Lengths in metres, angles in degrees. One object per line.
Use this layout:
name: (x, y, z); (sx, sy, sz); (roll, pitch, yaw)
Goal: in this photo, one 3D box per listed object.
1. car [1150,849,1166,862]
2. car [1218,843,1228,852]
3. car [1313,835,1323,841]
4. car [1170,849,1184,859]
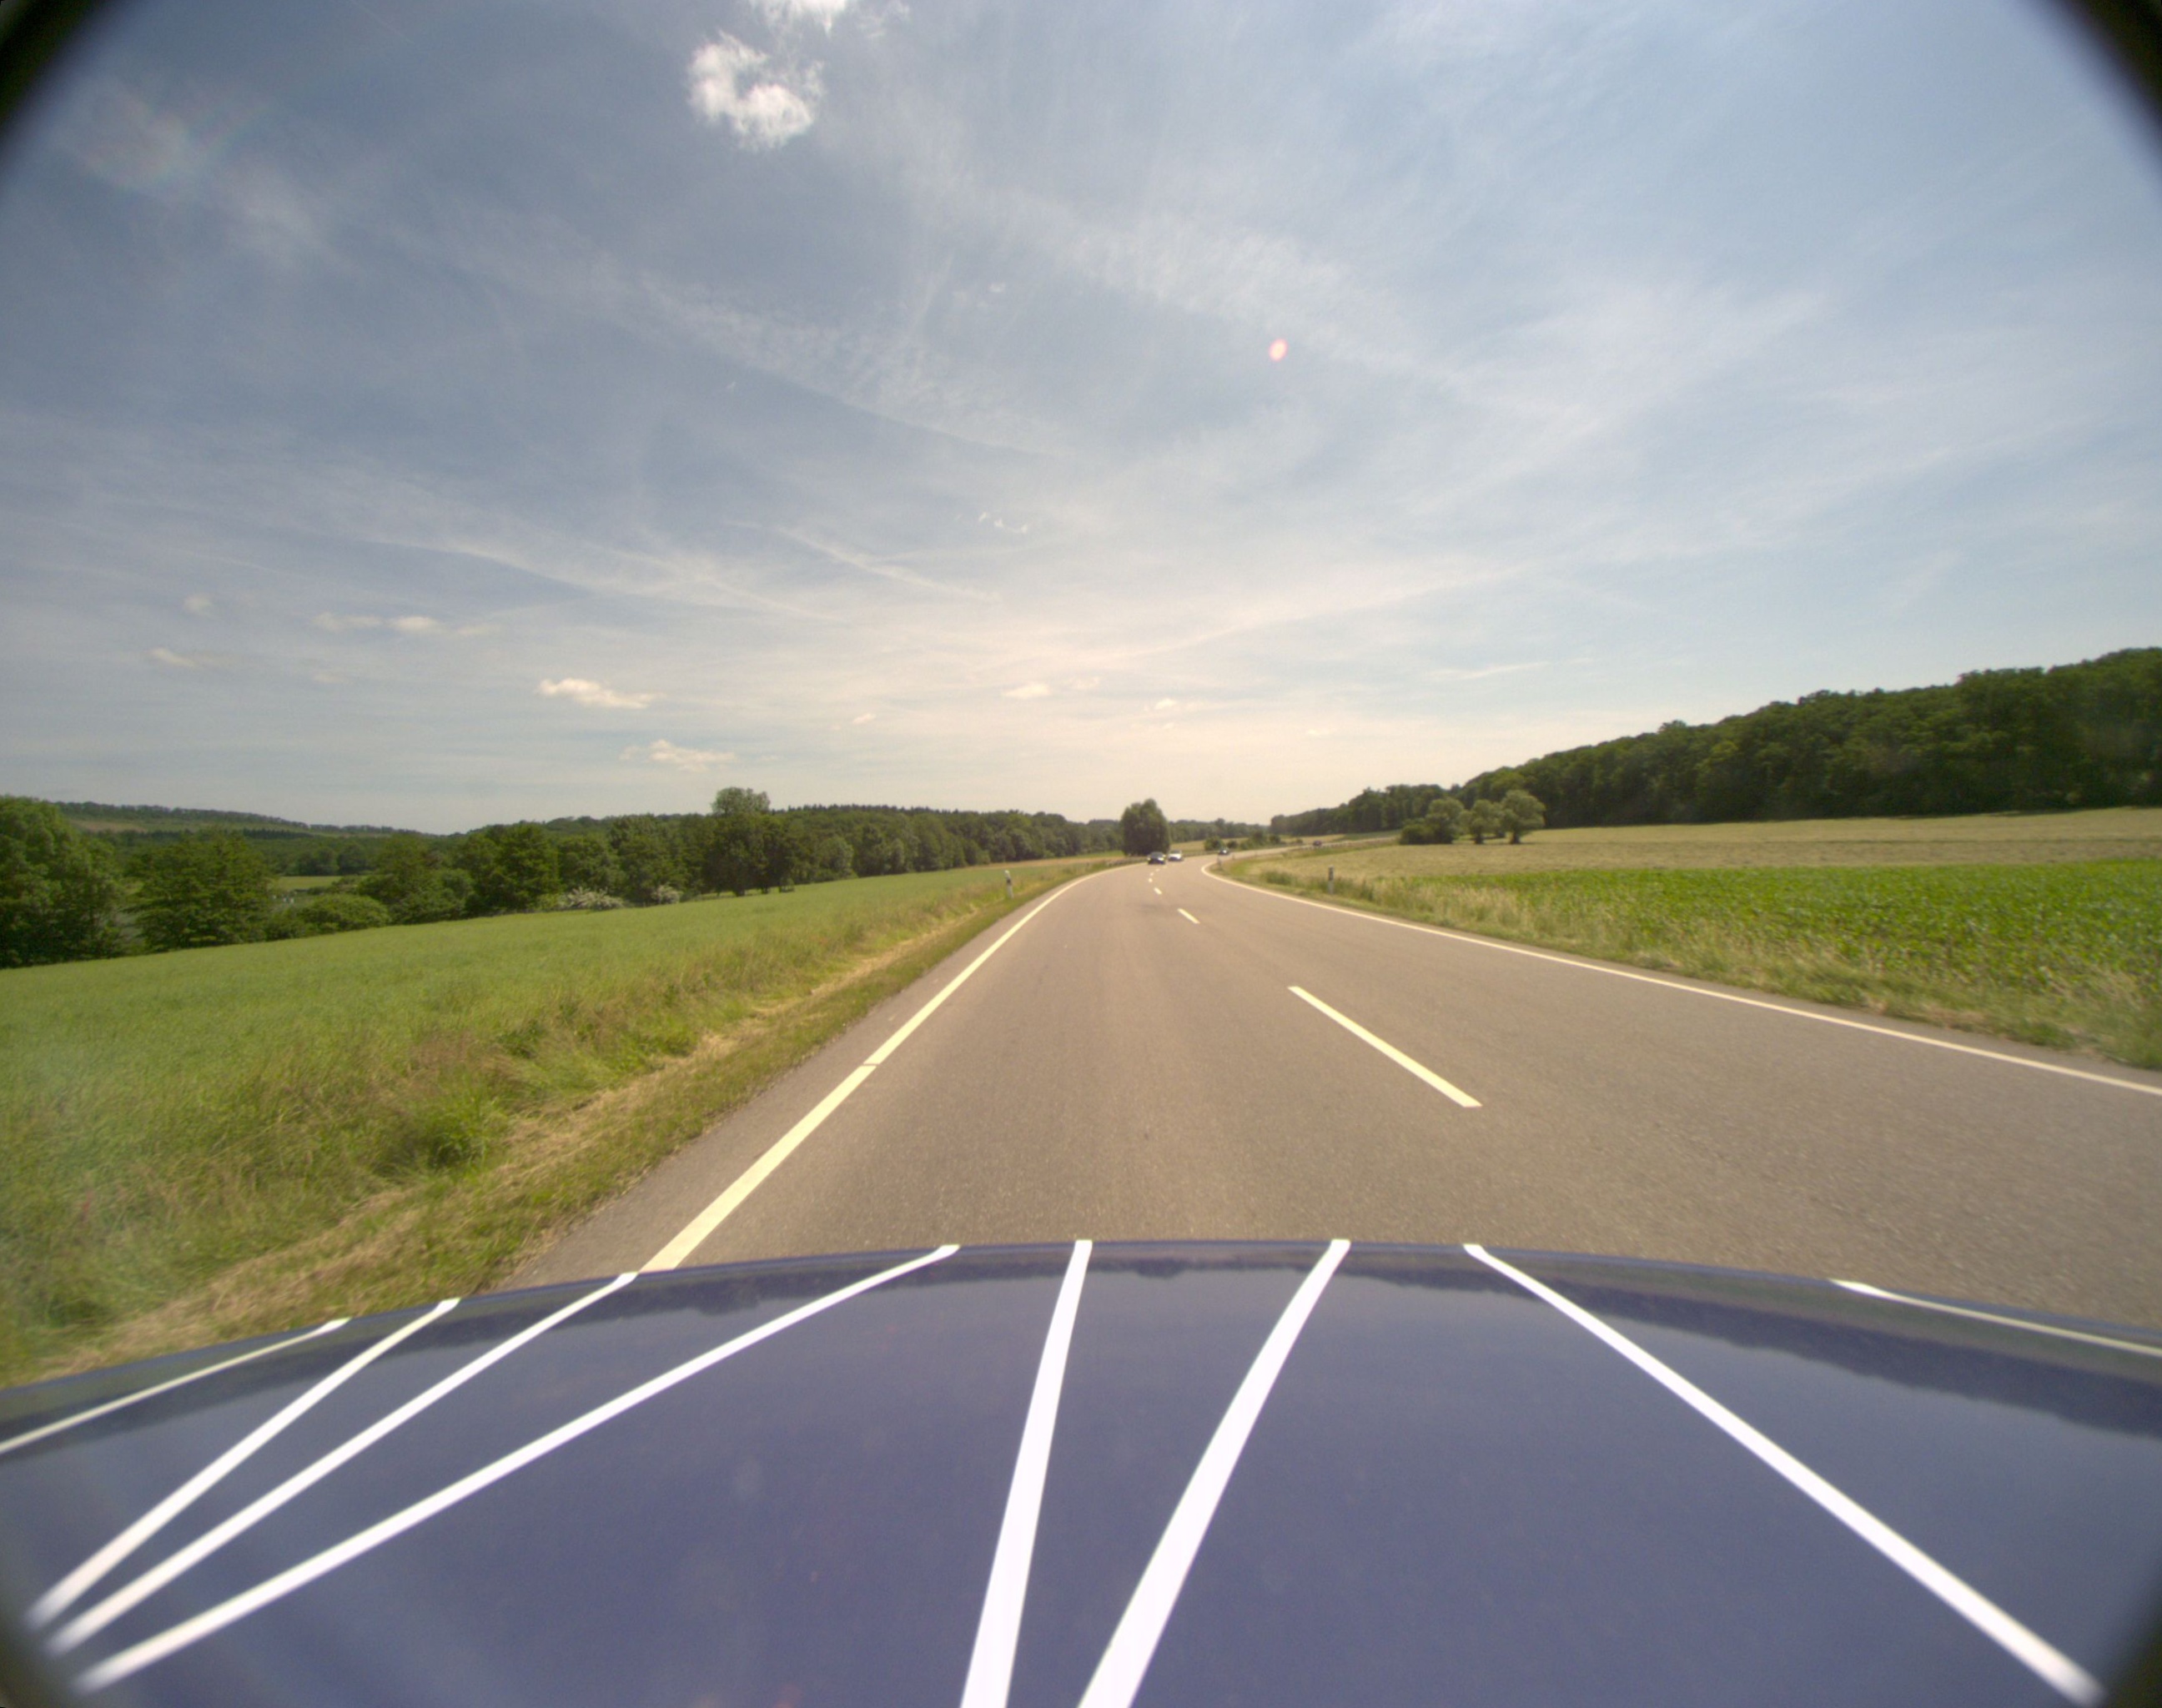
car: (8.943, 0.207, 88.489); (1.620, 1.428, 3.445); (-1, 1, 9)
car: (27.776, -1.261, 148.084); (1.620, 1.429, 3.445); (-1, 2, 15)
car: (68.792, -4.672, 220.484); (1.618, 1.429, 3.449); (0, 3, 35)
car: (13.492, -0.006, 106.529); (1.620, 1.428, 3.446); (-1, 0, 13)
